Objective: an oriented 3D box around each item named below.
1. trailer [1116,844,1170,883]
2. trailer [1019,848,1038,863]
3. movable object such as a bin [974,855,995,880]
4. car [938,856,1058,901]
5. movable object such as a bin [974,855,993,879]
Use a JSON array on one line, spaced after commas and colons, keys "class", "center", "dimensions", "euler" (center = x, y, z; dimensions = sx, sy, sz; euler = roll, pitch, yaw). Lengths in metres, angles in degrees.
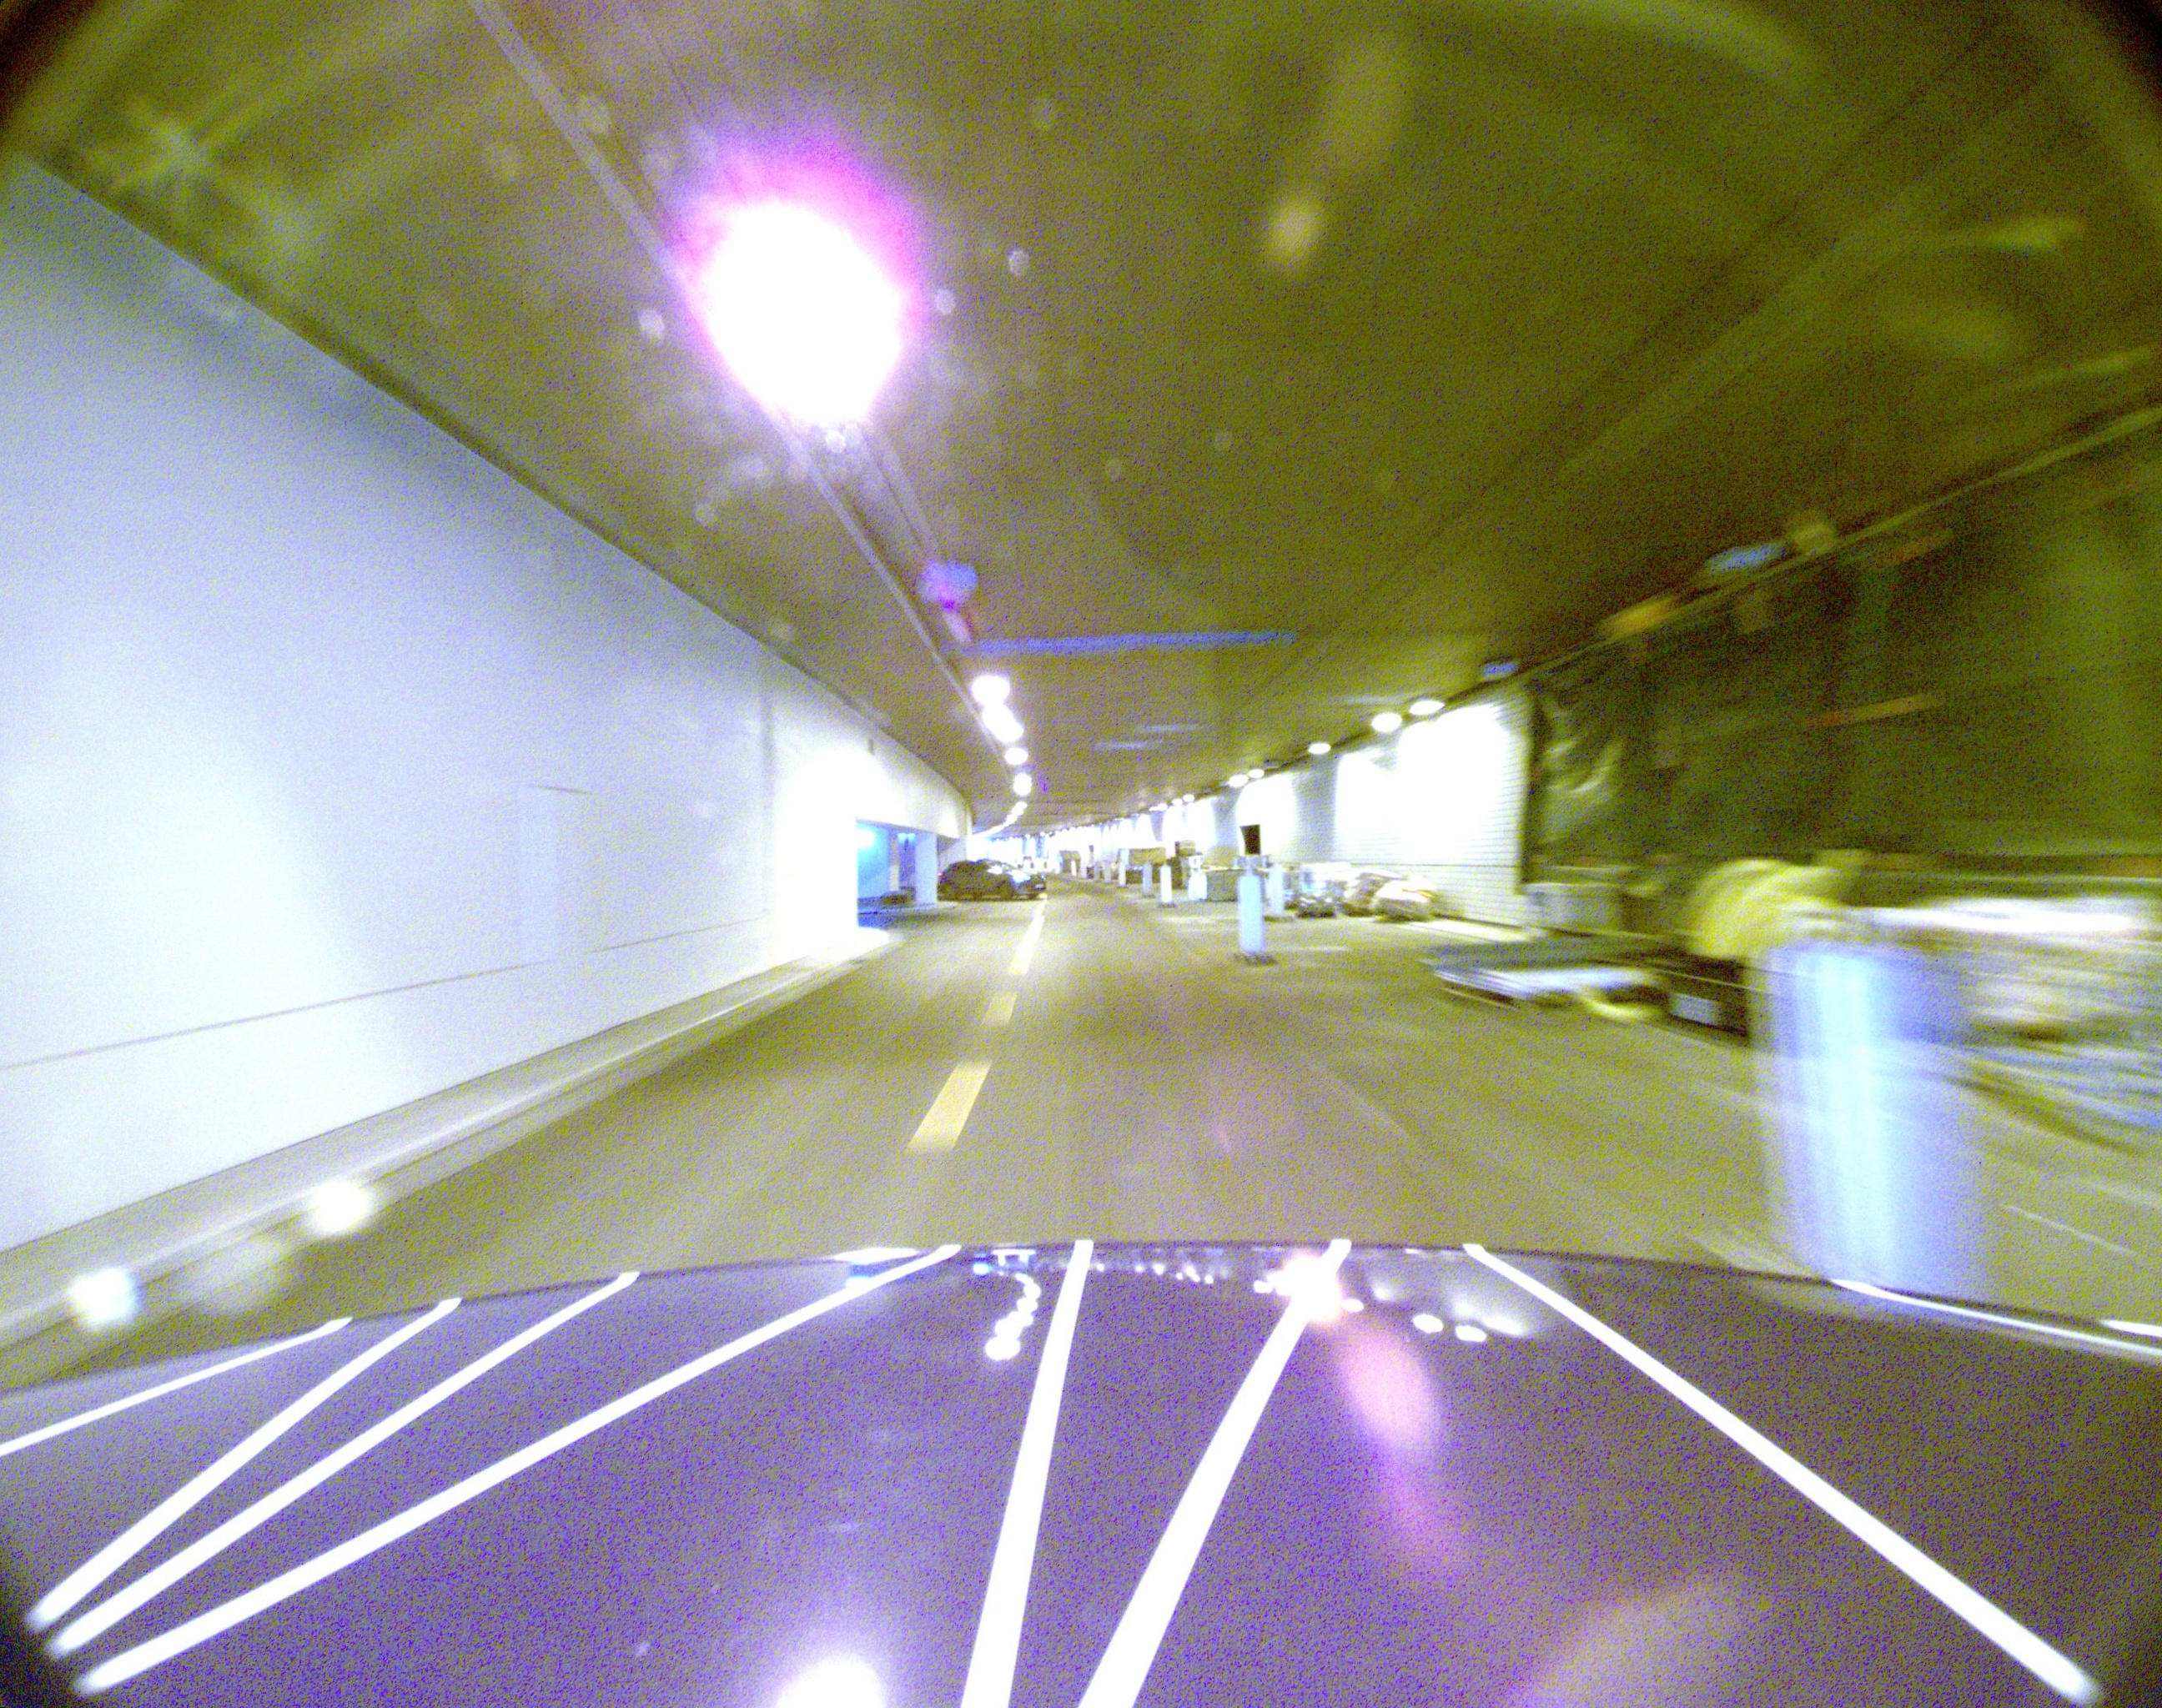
[{"class": "trailer", "center": [3.448, 0.503, 42.889], "dimensions": [2.215, 2.002, 3.463], "euler": [-2, 1, -9]}, {"class": "trailer", "center": [-6.567, 0.163, 94.028], "dimensions": [1.645, 1.781, 3.117], "euler": [-2, 1, -17]}, {"class": "movable object such as a bin", "center": [-5.861, 0.832, 46.148], "dimensions": [1.149, 1.437, 1.362], "euler": [-2, 1, -8]}, {"class": "car", "center": [-3.195, 0.923, 29.008], "dimensions": [4.229, 1.537, 1.901], "euler": [-1, 1, 31]}, {"class": "movable object such as a bin", "center": [-6.091, 0.792, 47.539], "dimensions": [1.101, 1.437, 1.321], "euler": [-2, 1, -8]}]
